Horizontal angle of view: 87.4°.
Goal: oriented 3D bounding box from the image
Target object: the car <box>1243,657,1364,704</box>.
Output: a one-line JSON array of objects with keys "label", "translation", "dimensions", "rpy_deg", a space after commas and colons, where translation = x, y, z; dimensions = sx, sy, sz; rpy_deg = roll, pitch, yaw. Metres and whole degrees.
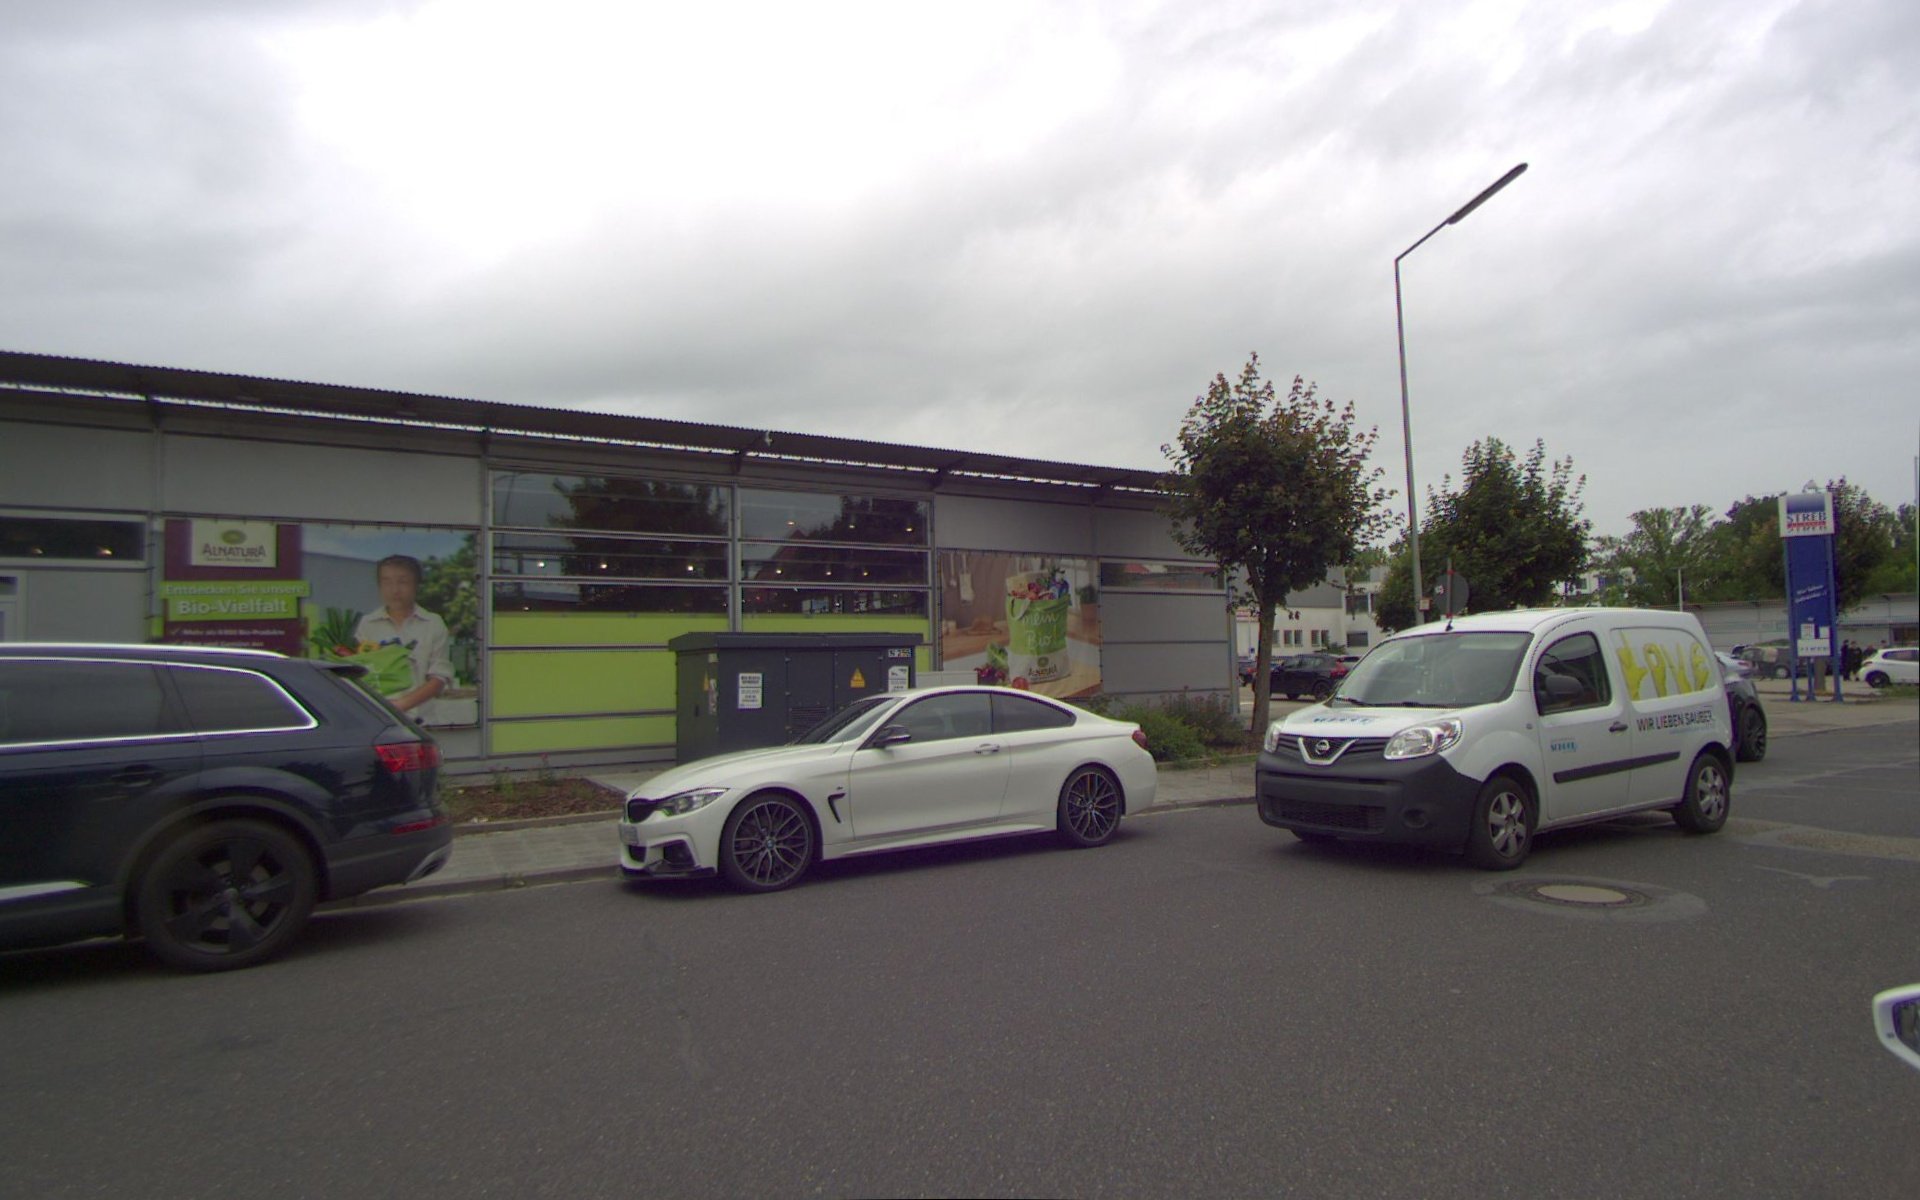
[{"label": "car", "translation": [12.037, 2.776, 35.150], "dimensions": [3.951, 1.504, 1.863], "rpy_deg": [2, -3, -29]}]

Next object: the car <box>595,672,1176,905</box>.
[{"label": "car", "translation": [-0.506, 1.394, 8.270], "dimensions": [4.466, 1.384, 1.692], "rpy_deg": [1, -9, -31]}]

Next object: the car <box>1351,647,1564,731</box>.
[{"label": "car", "translation": [10.960, 1.890, 22.393], "dimensions": [1.905, 1.642, 3.857], "rpy_deg": [1, -2, -29]}]

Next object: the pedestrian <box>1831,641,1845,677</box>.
[{"label": "pedestrian", "translation": [39.296, 2.654, 44.951], "dimensions": [0.500, 1.590, 0.355], "rpy_deg": [2, -4, -44]}]

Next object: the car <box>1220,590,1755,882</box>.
[{"label": "car", "translation": [4.203, 0.943, 7.908], "dimensions": [4.085, 1.783, 1.683], "rpy_deg": [1, -6, -29]}]

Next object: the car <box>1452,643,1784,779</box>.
[{"label": "car", "translation": [8.923, 1.452, 13.574], "dimensions": [4.352, 1.545, 1.939], "rpy_deg": [1, -8, -31]}]

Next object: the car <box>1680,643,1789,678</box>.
[{"label": "car", "translation": [39.527, 3.093, 51.325], "dimensions": [1.854, 1.690, 3.970], "rpy_deg": [1, -4, -30]}]

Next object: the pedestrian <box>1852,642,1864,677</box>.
[{"label": "pedestrian", "translation": [40.279, 2.666, 45.054], "dimensions": [0.500, 1.590, 0.327], "rpy_deg": [2, -4, -44]}]

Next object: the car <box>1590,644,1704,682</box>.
[{"label": "car", "translation": [32.158, 2.969, 47.096], "dimensions": [1.854, 1.690, 3.970], "rpy_deg": [1, -4, -30]}]

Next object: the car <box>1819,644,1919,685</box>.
[{"label": "car", "translation": [34.859, 2.381, 37.272], "dimensions": [1.935, 1.482, 4.173], "rpy_deg": [2, -4, -37]}]

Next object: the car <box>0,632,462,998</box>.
[{"label": "car", "translation": [-5.315, 1.112, 5.377], "dimensions": [4.672, 1.712, 1.859], "rpy_deg": [1, -7, -30]}]

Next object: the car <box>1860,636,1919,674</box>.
[{"label": "car", "translation": [38.894, 2.188, 40.069], "dimensions": [1.880, 1.482, 4.109], "rpy_deg": [1, -4, -35]}]

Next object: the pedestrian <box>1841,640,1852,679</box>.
[{"label": "pedestrian", "translation": [39.850, 2.664, 45.163], "dimensions": [0.419, 1.752, 0.260], "rpy_deg": [2, -4, -43]}]

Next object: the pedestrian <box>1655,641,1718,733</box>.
[{"label": "pedestrian", "translation": [14.157, 1.679, 19.586], "dimensions": [0.690, 1.737, 0.770], "rpy_deg": [1, -3, -34]}]

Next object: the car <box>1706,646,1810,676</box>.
[{"label": "car", "translation": [42.640, 3.267, 53.751], "dimensions": [1.764, 1.511, 3.971], "rpy_deg": [1, -4, -29]}]

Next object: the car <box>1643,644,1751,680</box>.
[{"label": "car", "translation": [37.114, 3.146, 50.691], "dimensions": [1.854, 1.690, 3.970], "rpy_deg": [1, -4, -30]}]

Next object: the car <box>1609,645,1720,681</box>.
[{"label": "car", "translation": [34.062, 3.065, 48.691], "dimensions": [1.854, 1.690, 3.970], "rpy_deg": [1, -4, -30]}]

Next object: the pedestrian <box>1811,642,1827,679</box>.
[{"label": "pedestrian", "translation": [39.203, 2.757, 45.846], "dimensions": [0.450, 1.663, 0.372], "rpy_deg": [-4, -4, 42]}]
